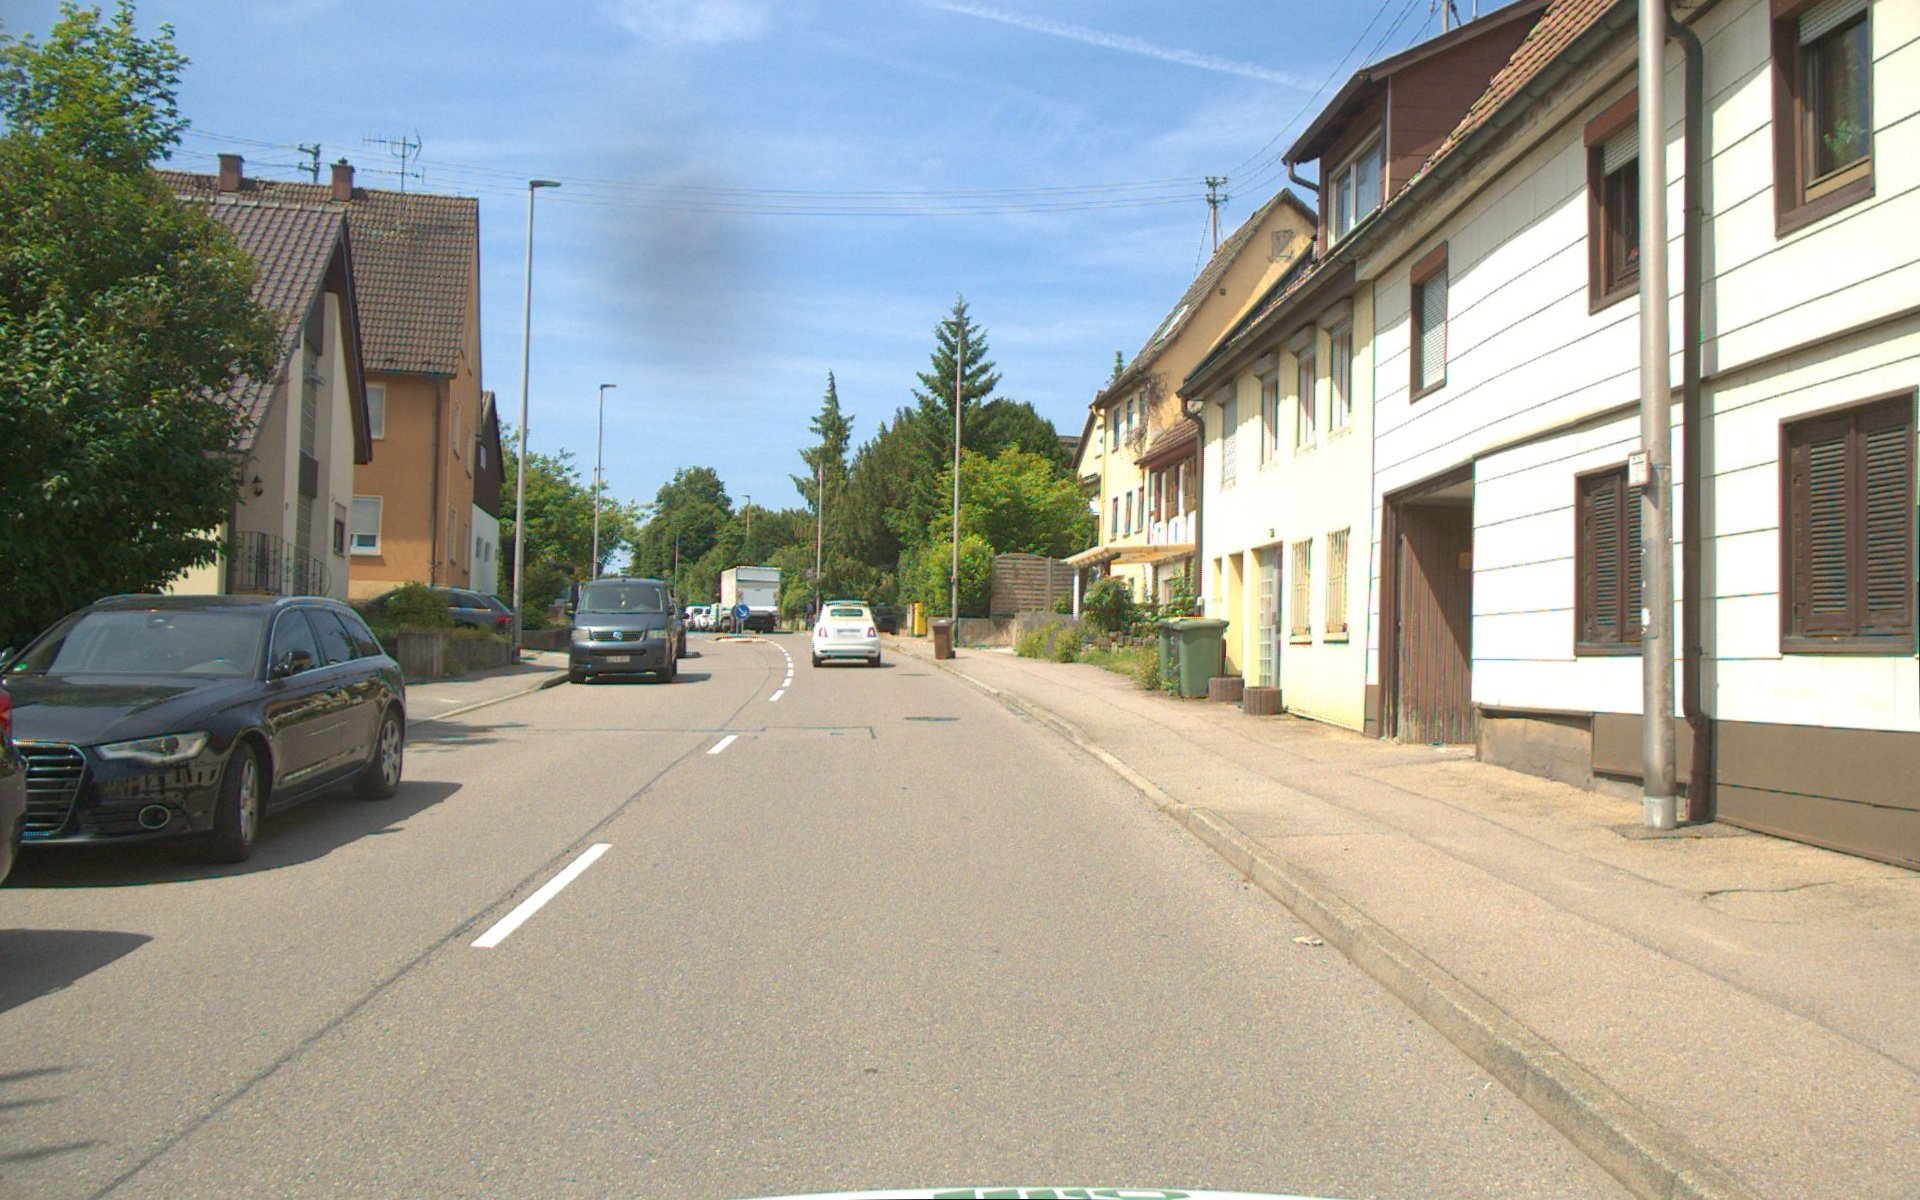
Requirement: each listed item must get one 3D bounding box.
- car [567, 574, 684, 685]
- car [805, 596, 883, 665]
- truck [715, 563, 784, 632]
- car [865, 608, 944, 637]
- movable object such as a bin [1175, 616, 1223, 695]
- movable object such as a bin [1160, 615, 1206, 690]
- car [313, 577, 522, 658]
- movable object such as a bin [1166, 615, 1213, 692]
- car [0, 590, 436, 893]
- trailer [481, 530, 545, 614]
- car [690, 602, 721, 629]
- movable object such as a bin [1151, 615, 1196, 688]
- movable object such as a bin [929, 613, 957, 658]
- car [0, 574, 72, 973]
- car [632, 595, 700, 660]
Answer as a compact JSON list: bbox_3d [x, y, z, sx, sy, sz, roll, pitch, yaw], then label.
[{"bbox_3d":[-6.465,0.553,32.391,1.855,1.971,4.978,0,-1,-7],"label":"car"},{"bbox_3d":[-2.854,0.724,40.073,1.692,1.587,3.994,1,-1,-7],"label":"car"},{"bbox_3d":[-12.298,-0.081,96.041,3.017,3.840,7.836,0,-1,-15],"label":"truck"},{"bbox_3d":[-2.875,1.181,85.592,3.863,1.483,1.654,0,-1,-12],"label":"car"},{"bbox_3d":[3.319,0.762,22.993,0.536,1.051,0.551,-2,0,-4],"label":"movable object such as a bin"},{"bbox_3d":[3.244,0.762,24.132,0.536,1.051,0.551,-2,0,-4],"label":"movable object such as a bin"},{"bbox_3d":[-12.056,0.385,37.018,4.155,1.430,1.816,5,-1,-12],"label":"car"},{"bbox_3d":[3.269,0.759,23.562,0.536,1.051,0.551,-2,0,-4],"label":"movable object such as a bin"},{"bbox_3d":[-4.858,0.688,10.545,1.783,1.499,4.772,0,0,-4],"label":"car"},{"bbox_3d":[-16.501,-0.959,61.264,1.681,2.898,6.158,1,-1,-10],"label":"trailer"},{"bbox_3d":[-17.884,1.075,116.161,1.510,1.699,3.981,3,0,-17],"label":"car"},{"bbox_3d":[3.188,0.758,24.724,0.536,1.051,0.551,-2,0,-4],"label":"movable object such as a bin"},{"bbox_3d":[-0.420,0.870,40.675,0.484,1.051,0.549,-3,0,17],"label":"movable object such as a bin"},{"bbox_3d":[-4.589,0.681,4.768,1.719,1.547,4.300,0,0,0],"label":"car"},{"bbox_3d":[-7.981,0.721,45.031,1.736,1.664,4.278,0,0,-10],"label":"car"}]
